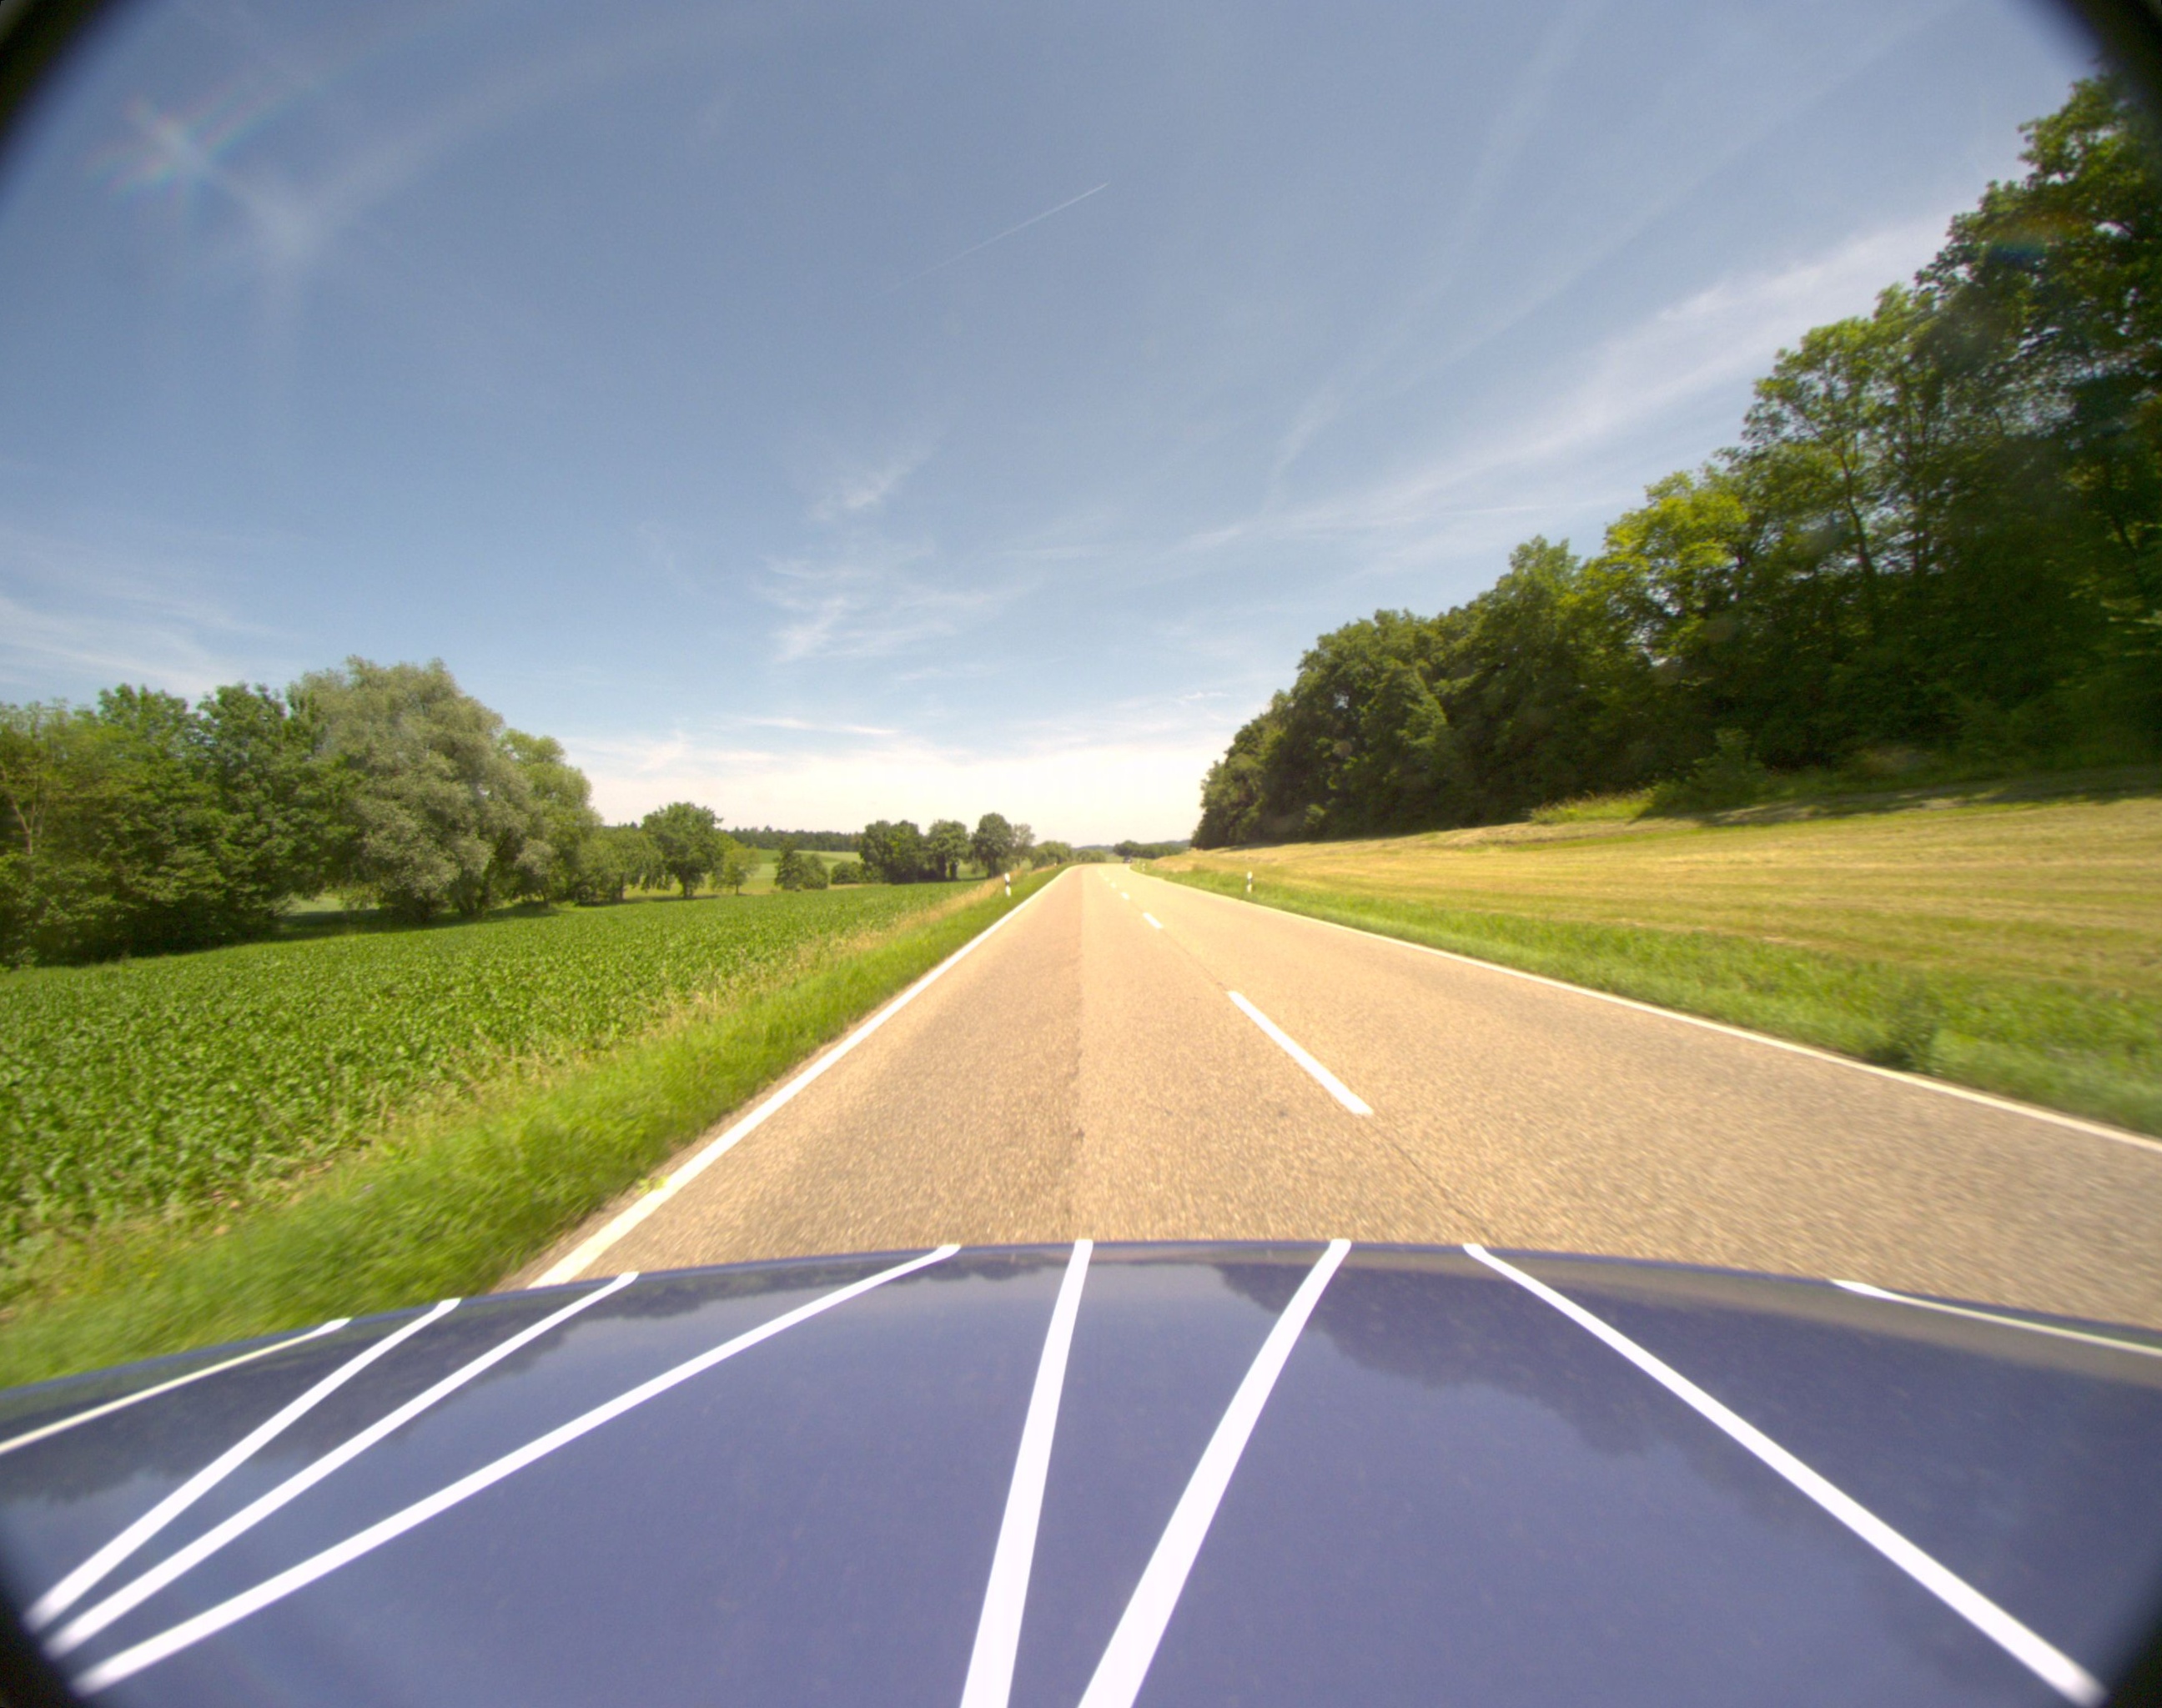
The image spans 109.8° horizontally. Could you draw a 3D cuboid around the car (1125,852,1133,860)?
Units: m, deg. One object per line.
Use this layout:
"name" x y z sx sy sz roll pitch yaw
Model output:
"car" 10.878 0.438 172.552 1.815 1.569 4.157 -3 -3 4
